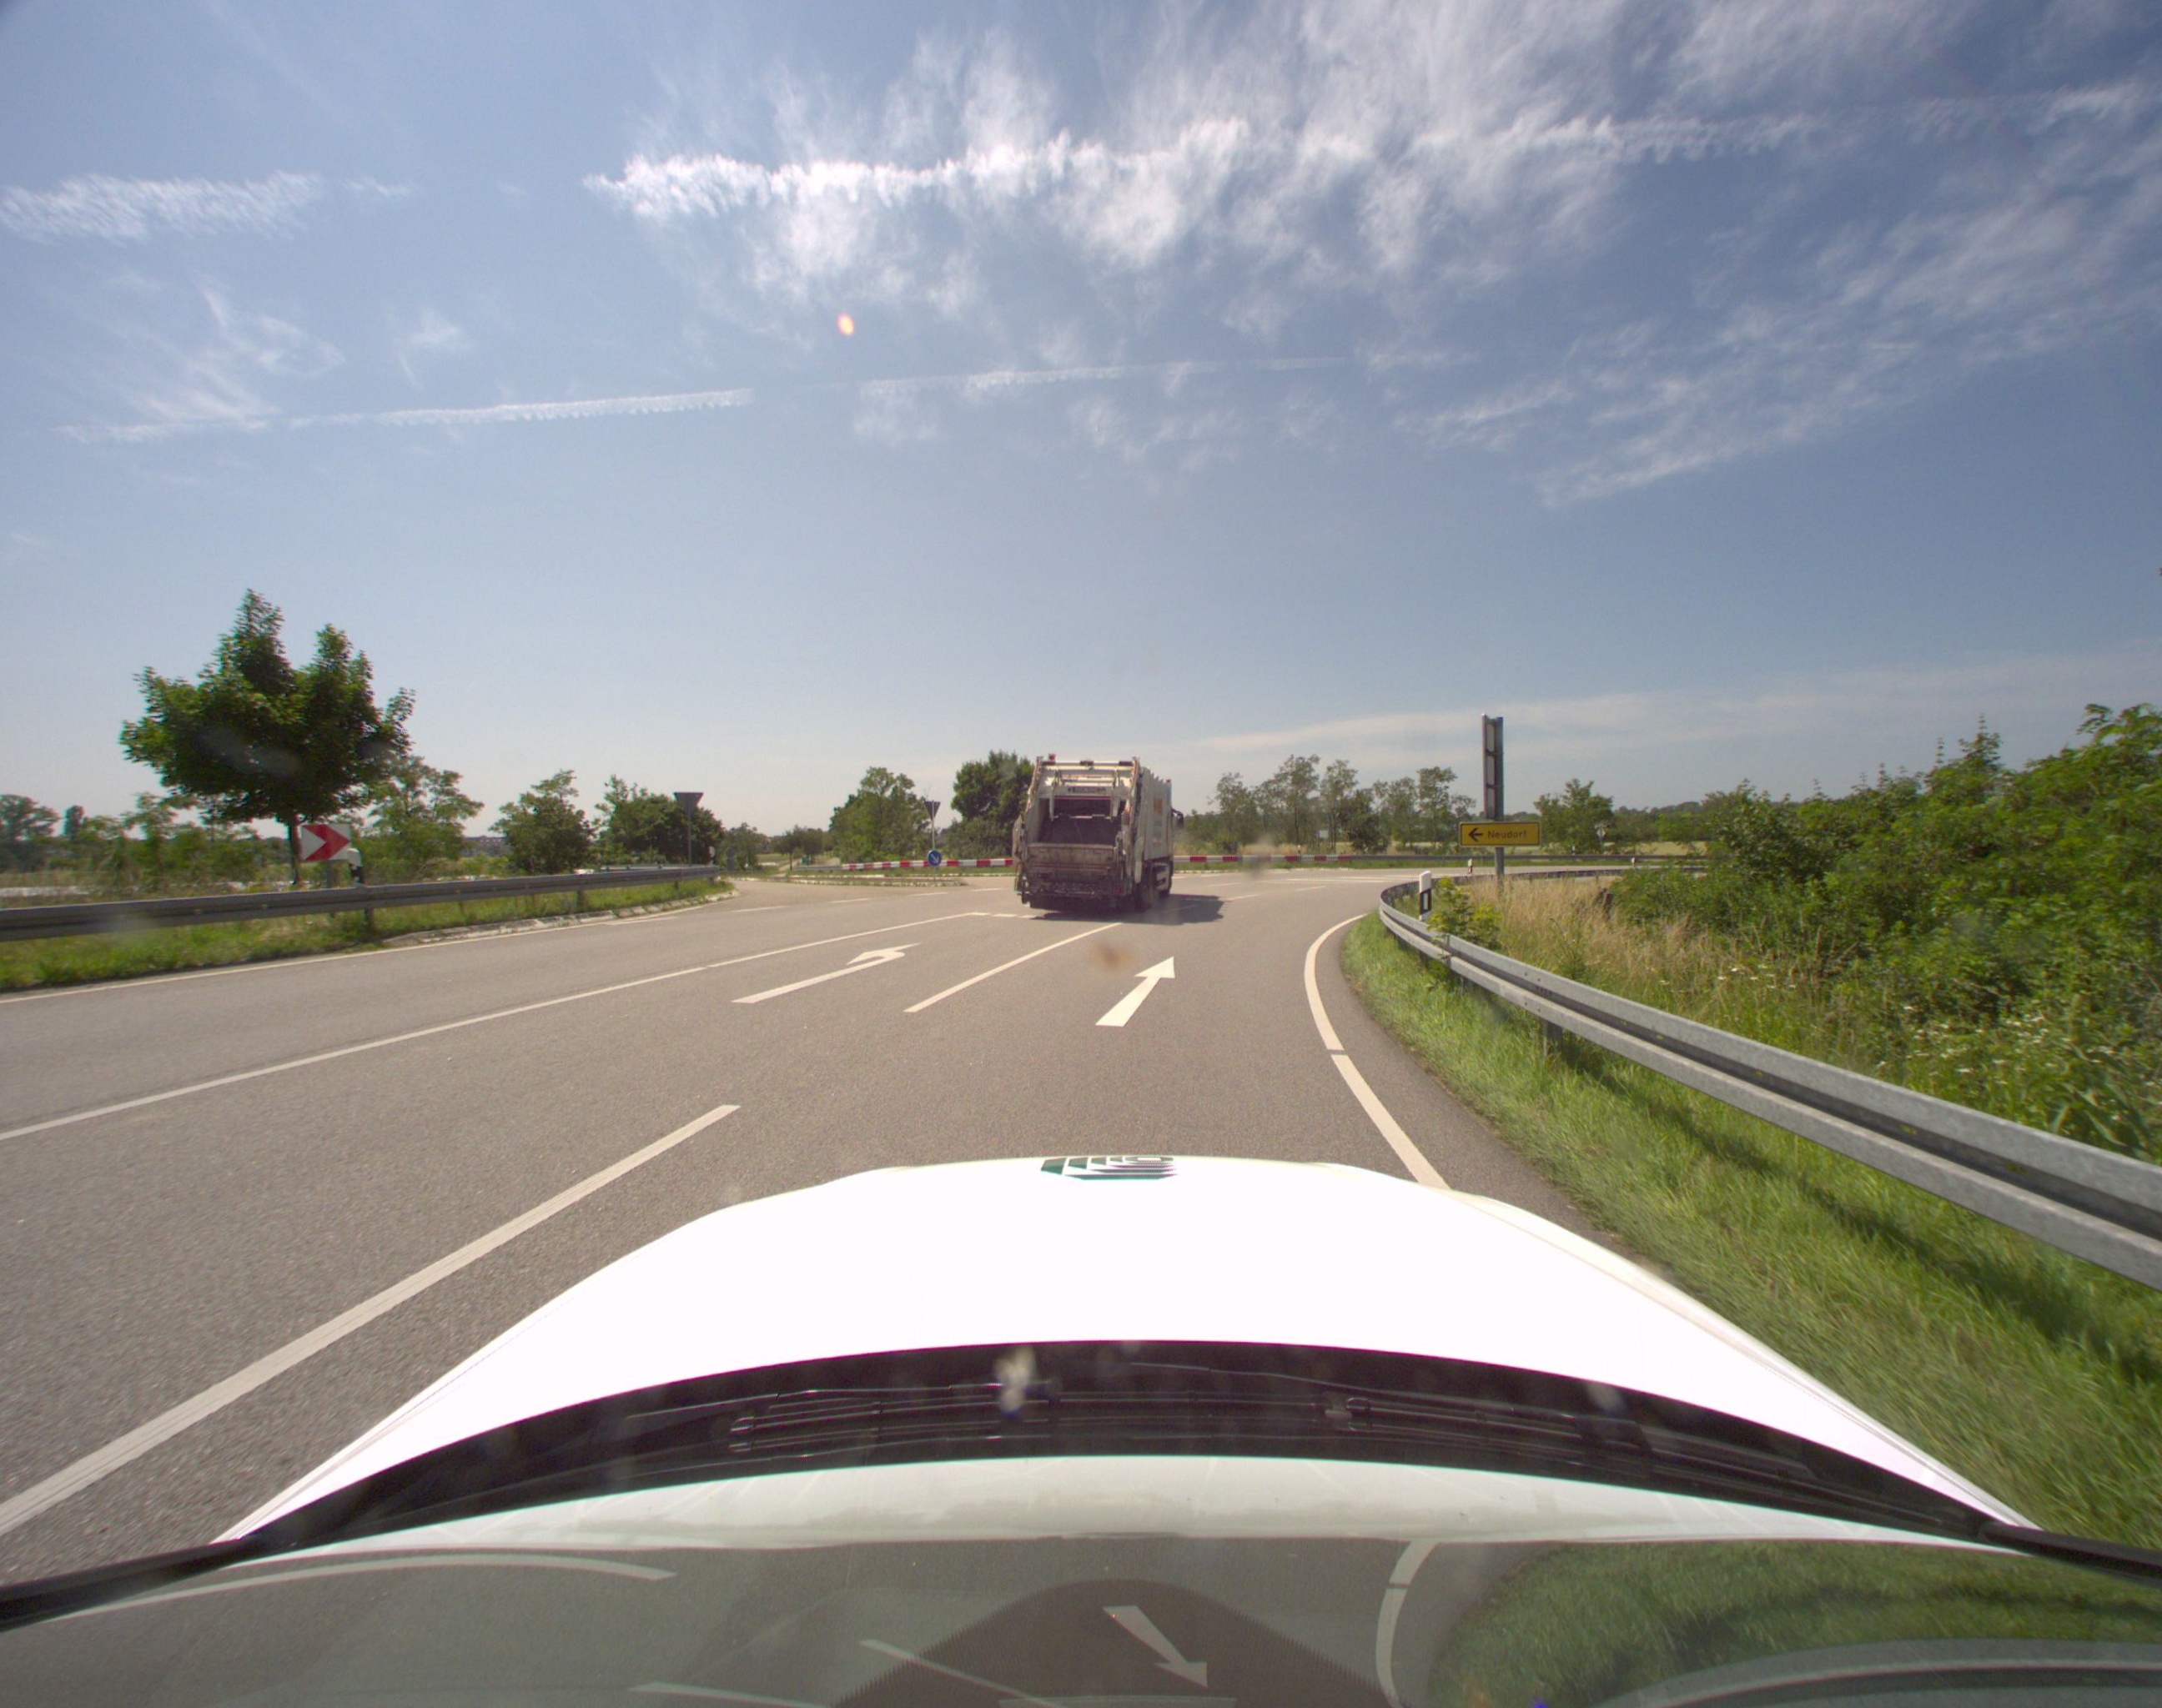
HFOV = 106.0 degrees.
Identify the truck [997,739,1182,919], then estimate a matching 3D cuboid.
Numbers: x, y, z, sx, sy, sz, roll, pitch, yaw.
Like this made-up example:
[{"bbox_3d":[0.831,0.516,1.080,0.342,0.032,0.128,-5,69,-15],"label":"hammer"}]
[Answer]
[{"bbox_3d":[0.754,-0.533,21.808,2.793,3.669,9.983,1,0,13],"label":"truck"}]
